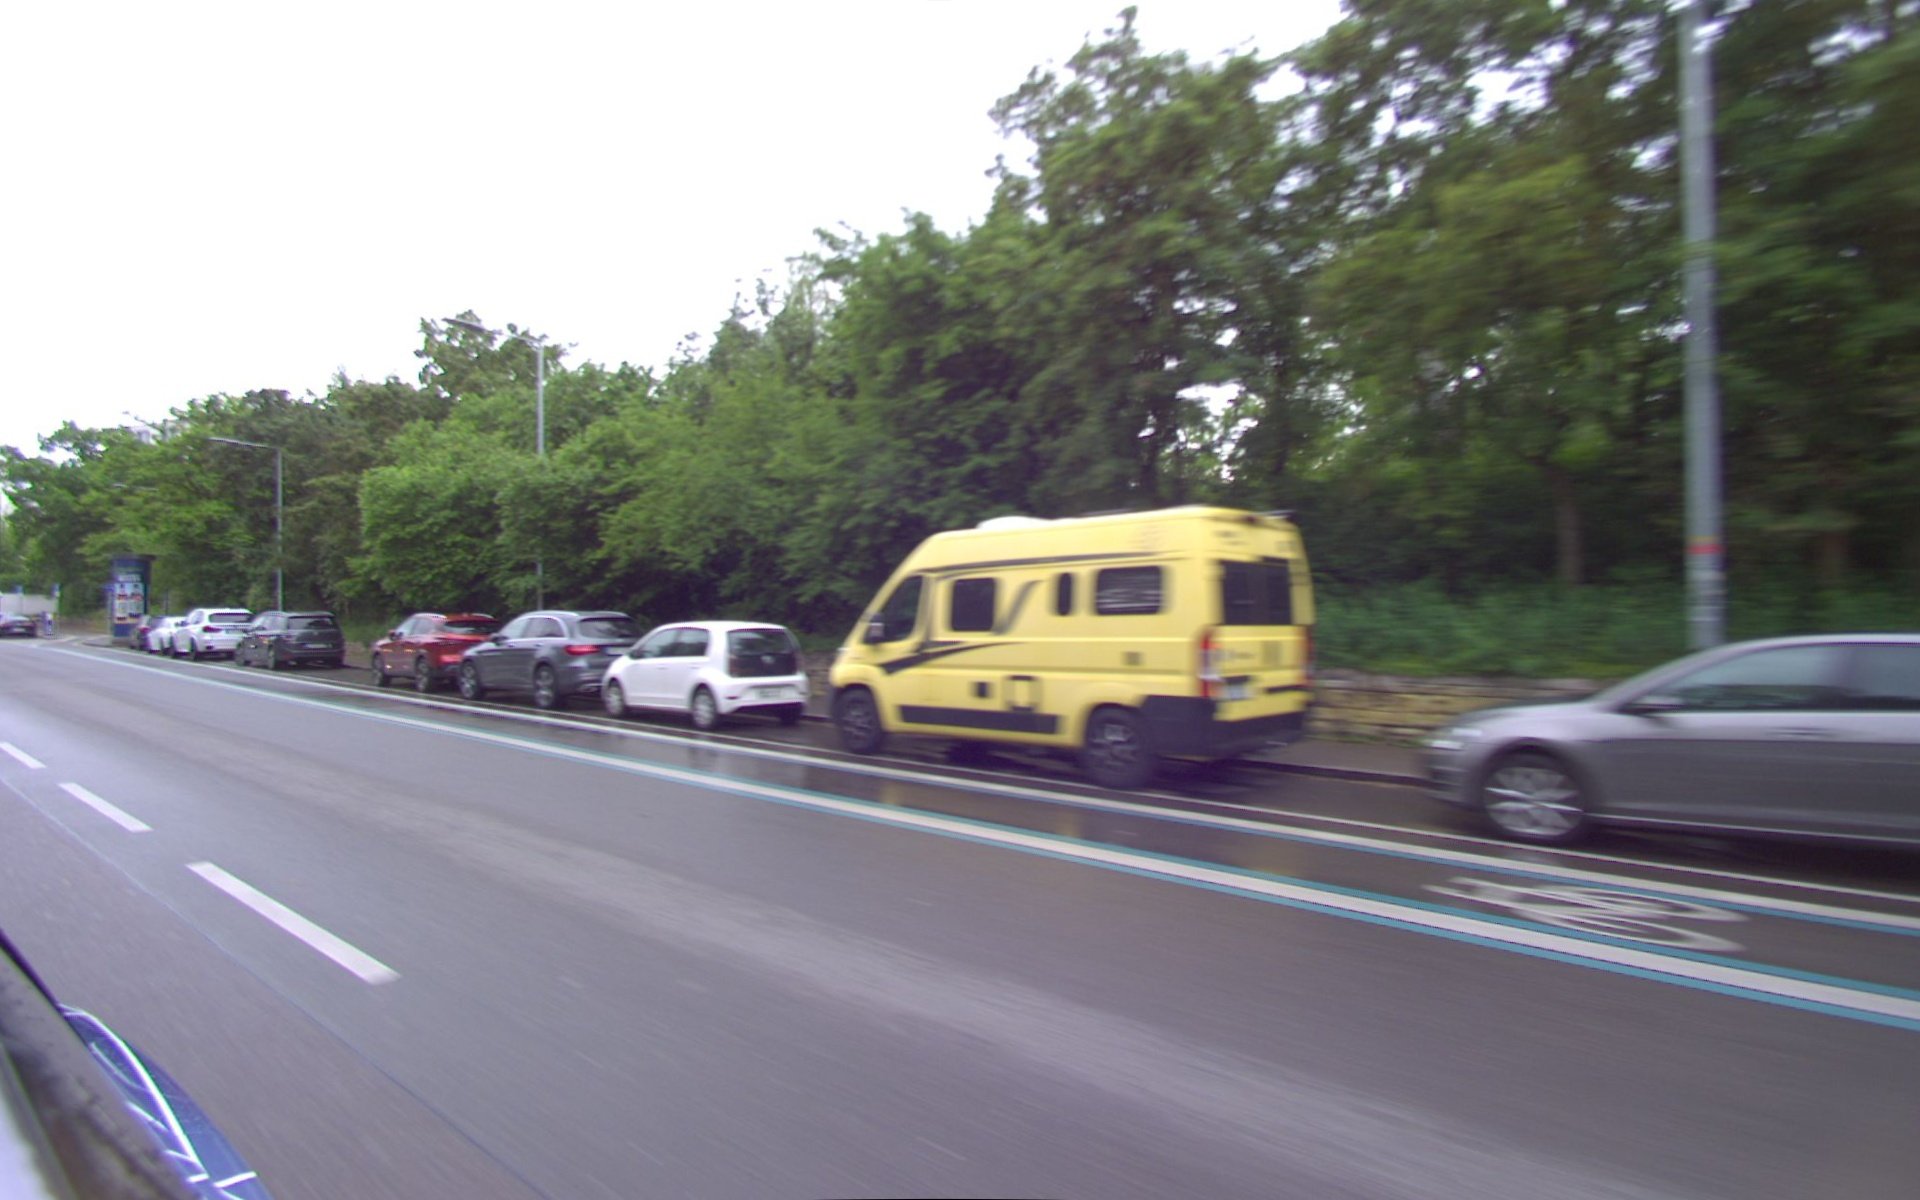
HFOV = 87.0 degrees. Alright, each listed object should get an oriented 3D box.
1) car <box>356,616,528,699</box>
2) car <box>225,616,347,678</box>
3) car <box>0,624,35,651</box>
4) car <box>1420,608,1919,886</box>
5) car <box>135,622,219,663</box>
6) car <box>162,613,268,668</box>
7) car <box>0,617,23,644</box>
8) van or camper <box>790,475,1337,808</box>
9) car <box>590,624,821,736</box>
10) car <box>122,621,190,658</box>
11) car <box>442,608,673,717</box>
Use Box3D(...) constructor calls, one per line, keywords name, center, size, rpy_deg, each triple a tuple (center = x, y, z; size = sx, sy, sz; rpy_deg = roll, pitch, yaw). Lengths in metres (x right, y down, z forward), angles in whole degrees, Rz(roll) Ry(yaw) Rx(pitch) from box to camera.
Box3D(name="car", center=(-11.403, 1.181, 22.131), size=(4.489, 1.629, 1.898), rpy_deg=(-1, -2, 43))
Box3D(name="car", center=(-19.909, 1.329, 29.837), size=(4.566, 1.661, 1.714), rpy_deg=(-1, 0, 39))
Box3D(name="car", center=(-57.023, 2.222, 60.627), size=(4.781, 1.425, 1.886), rpy_deg=(0, 1, 41))
Box3D(name="car", center=(5.370, 0.825, 6.465), size=(4.145, 1.510, 1.662), rpy_deg=(-1, -2, 40))
Box3D(name="car", center=(-30.292, 1.591, 39.087), size=(4.705, 1.471, 1.700), rpy_deg=(-1, -1, 41))
Box3D(name="car", center=(-25.949, 1.339, 35.172), size=(4.958, 1.779, 1.973), rpy_deg=(-1, -1, 41))
Box3D(name="car", center=(-61.595, 1.951, 64.842), size=(4.926, 1.601, 1.822), rpy_deg=(0, 1, 41))
Box3D(name="van or camper", center=(0.787, 0.384, 10.793), size=(5.682, 2.647, 2.120), rpy_deg=(-1, -2, 43))
Box3D(name="car", center=(-3.860, 1.095, 15.066), size=(3.656, 1.460, 1.600), rpy_deg=(-1, -2, 43))
Box3D(name="car", center=(-34.274, 1.643, 43.104), size=(4.588, 1.456, 1.729), rpy_deg=(-1, -1, 44))
Box3D(name="car", center=(-7.367, 1.036, 18.311), size=(4.612, 1.713, 1.973), rpy_deg=(-1, -1, 40))
